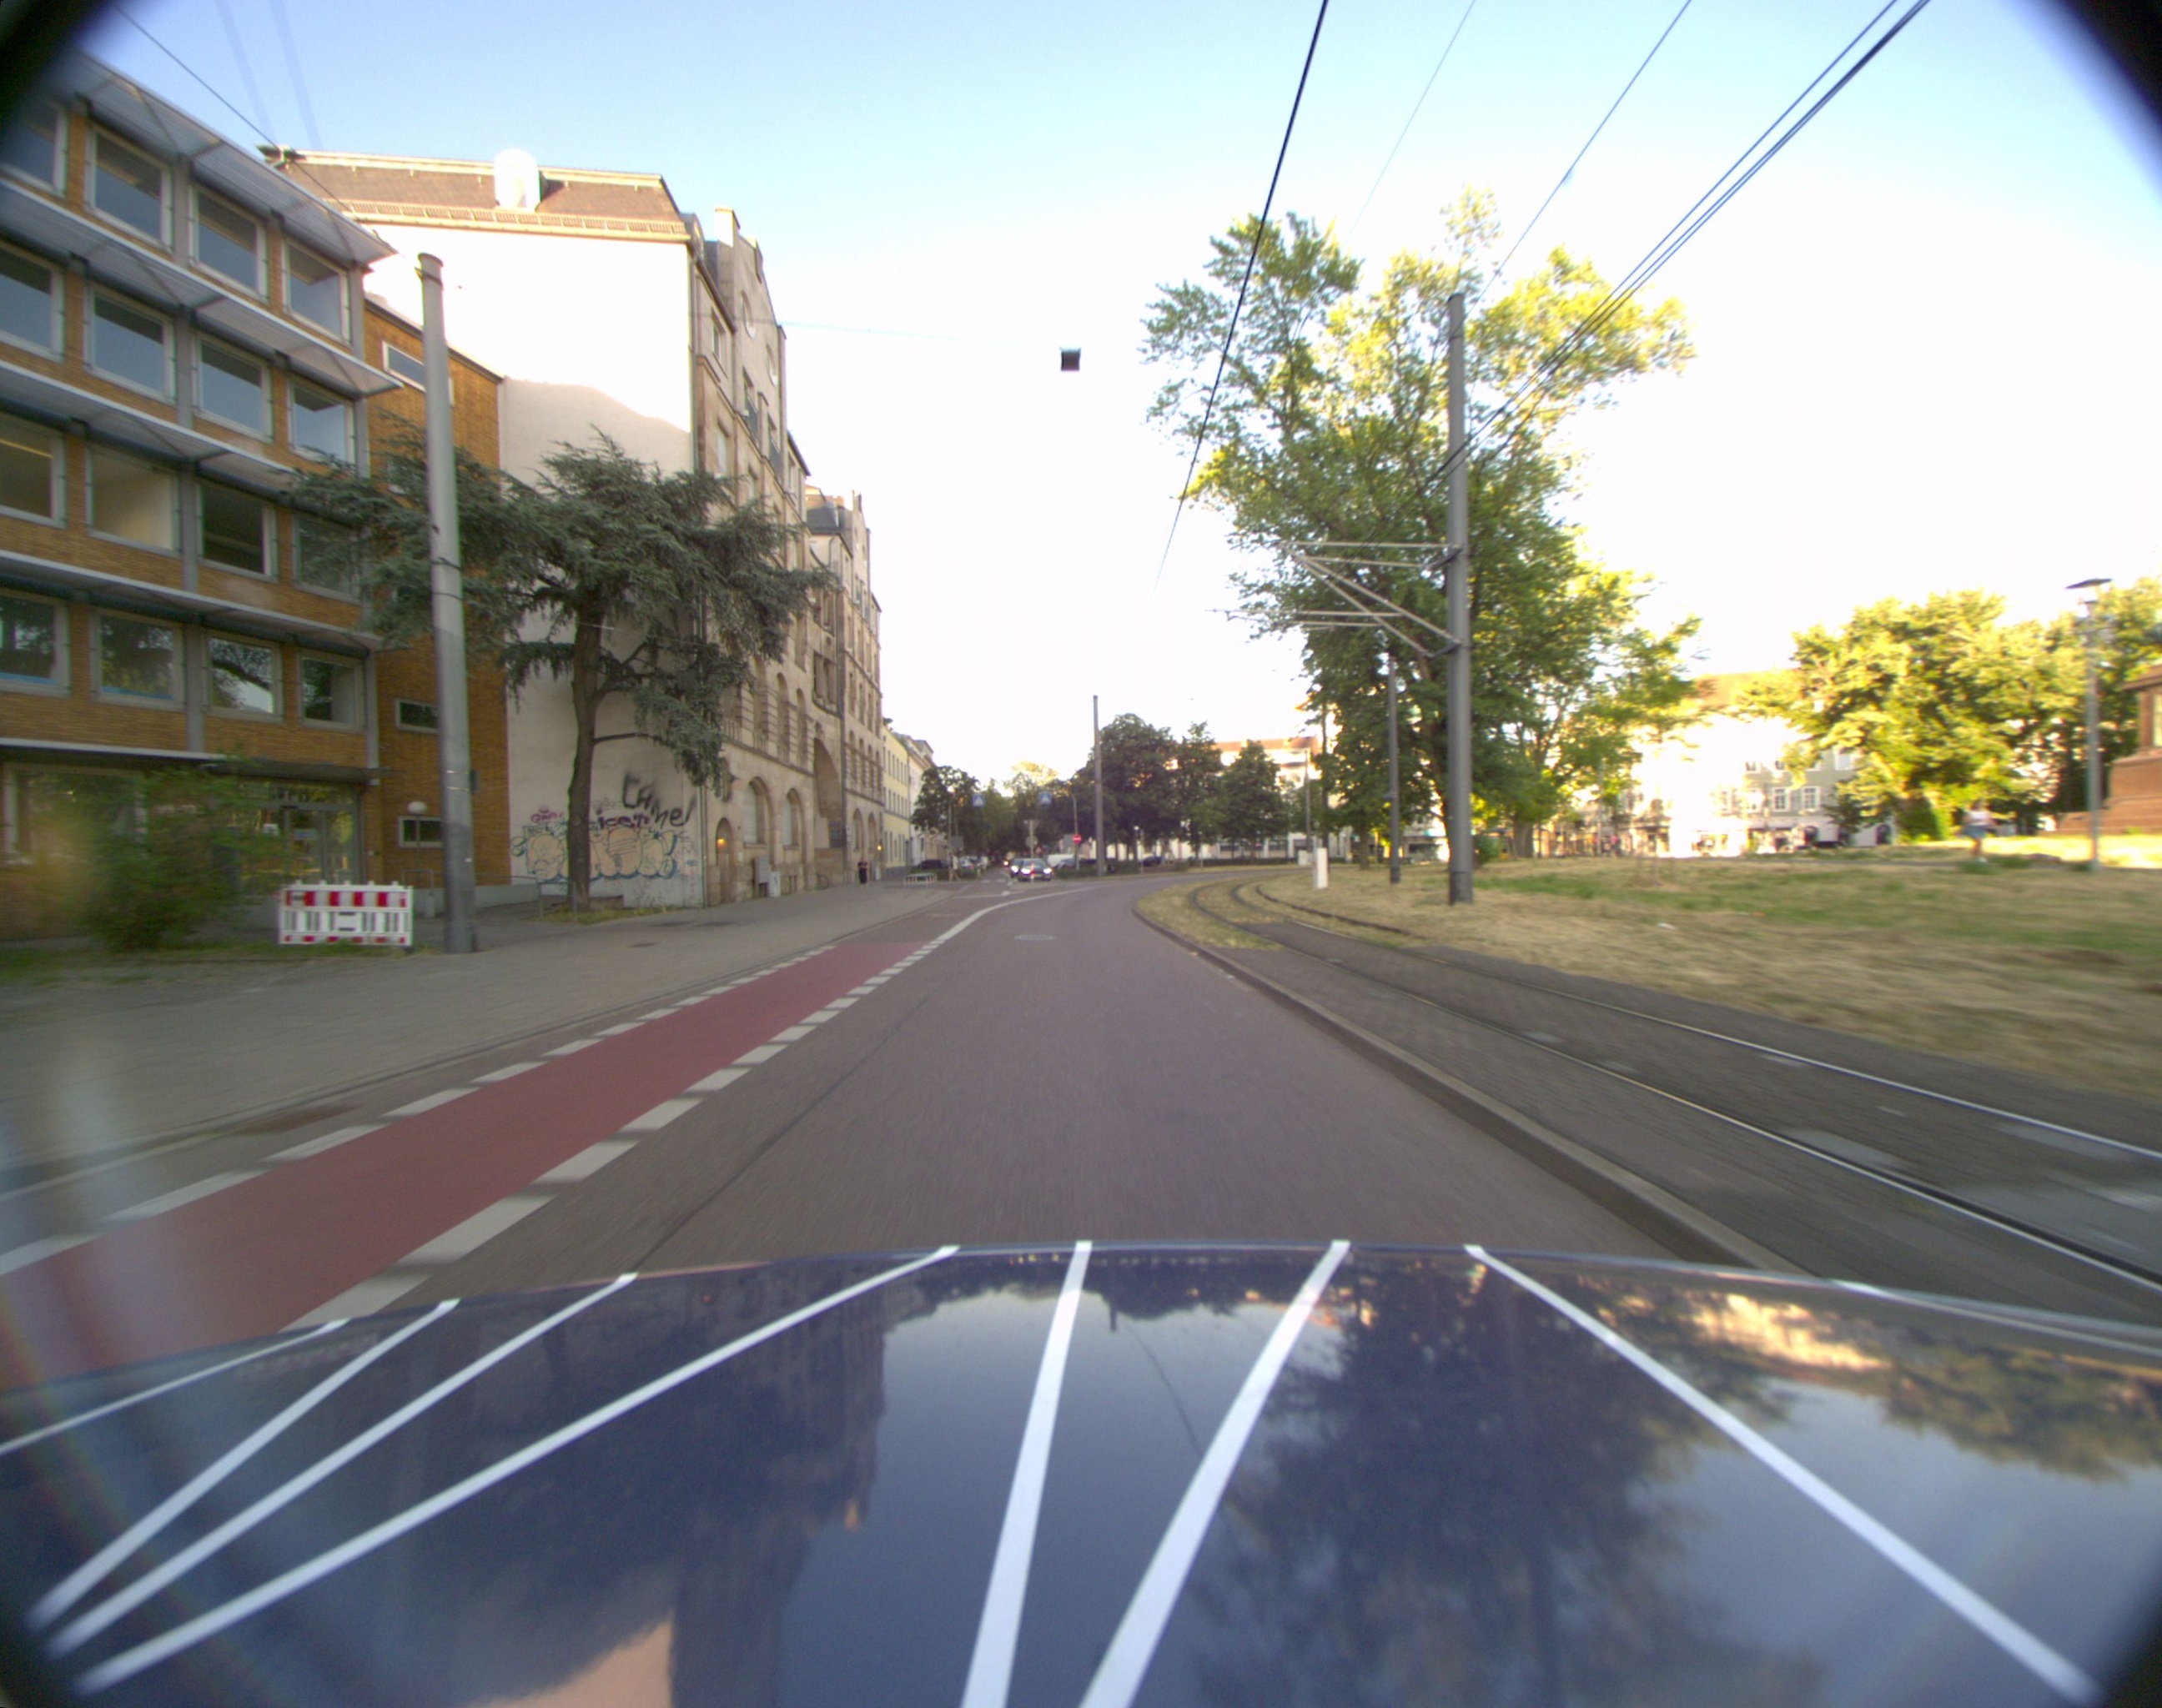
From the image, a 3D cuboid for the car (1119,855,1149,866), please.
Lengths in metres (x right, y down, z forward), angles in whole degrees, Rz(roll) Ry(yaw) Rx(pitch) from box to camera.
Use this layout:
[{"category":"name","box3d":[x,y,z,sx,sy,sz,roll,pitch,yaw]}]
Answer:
[{"category":"car","box3d":[7.055,0.908,101.144,3.669,1.441,1.704,-1,-1,17]}]

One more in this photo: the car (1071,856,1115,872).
[{"category":"car","box3d":[1.225,0.991,74.722,4.062,1.542,2.002,-1,-1,10]}]

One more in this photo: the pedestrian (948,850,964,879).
[{"category":"pedestrian","box3d":[-7.799,0.638,47.460,0.591,1.781,0.823,-1,0,27]}]

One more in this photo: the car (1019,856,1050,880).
[{"category":"car","box3d":[-3.001,0.876,48.458,1.820,1.473,4.134,-1,-1,-5]}]

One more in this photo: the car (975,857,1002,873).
[{"category":"car","box3d":[-14.201,1.703,116.641,4.067,2.280,1.999,-1,-1,-6]}]

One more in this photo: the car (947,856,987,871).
[{"category":"car","box3d":[-11.998,1.013,80.326,4.067,1.542,1.999,-1,-1,-6]}]

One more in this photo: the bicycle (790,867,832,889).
[{"category":"bicycle","box3d":[-13.026,1.153,36.691,1.855,1.066,0.429,-1,0,-6]}]

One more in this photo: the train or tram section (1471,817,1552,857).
[{"category":"train or tram section","box3d":[42.072,-1.680,73.918,13.393,3.563,2.942,-2,1,-43]}]

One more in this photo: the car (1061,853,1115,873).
[{"category":"car","box3d":[0.590,0.757,61.284,4.062,1.547,1.867,-1,-1,10]}]

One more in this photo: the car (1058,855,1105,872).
[{"category":"car","box3d":[0.061,0.903,71.564,4.062,1.608,2.002,-1,-1,10]}]

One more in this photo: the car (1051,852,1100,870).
[{"category":"car","box3d":[-0.597,0.766,84.533,5.071,1.891,2.124,-1,-1,18]}]

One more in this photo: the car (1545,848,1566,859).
[{"category":"car","box3d":[71.994,-0.112,115.273,1.721,1.542,3.973,-1,-1,17]}]

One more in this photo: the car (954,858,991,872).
[{"category":"car","box3d":[-12.273,1.256,86.009,4.067,1.542,1.999,-1,-1,-6]}]

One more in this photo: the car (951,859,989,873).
[{"category":"car","box3d":[-13.158,1.447,90.279,4.062,1.542,2.002,-1,-1,10]}]

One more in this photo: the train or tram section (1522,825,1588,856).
[{"category":"train or tram section","box3d":[51.774,-1.568,82.719,12.882,3.123,2.924,-2,1,-43]}]

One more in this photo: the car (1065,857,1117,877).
[{"category":"car","box3d":[0.846,1.077,63.450,4.062,1.547,1.867,-1,-1,10]}]

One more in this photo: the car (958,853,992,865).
[{"category":"car","box3d":[-13.761,0.668,98.913,4.398,1.603,1.728,-1,-1,-6]}]

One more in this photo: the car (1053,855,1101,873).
[{"category":"car","box3d":[-0.359,0.905,69.293,4.062,1.542,2.002,-1,-1,10]}]

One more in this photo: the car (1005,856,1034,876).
[{"category":"car","box3d":[-4.743,0.945,58.913,1.819,1.473,4.136,-1,-1,1]}]

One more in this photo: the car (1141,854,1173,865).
[{"category":"car","box3d":[9.492,0.737,94.877,3.776,1.328,1.730,-1,-1,15]}]

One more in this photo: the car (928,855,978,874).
[{"category":"car","box3d":[-11.187,0.914,66.489,4.066,1.560,1.837,-1,-1,-3]}]

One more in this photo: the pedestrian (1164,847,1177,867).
[{"category":"pedestrian","box3d":[7.908,0.274,66.934,0.770,1.705,0.784,0,0,-29]}]

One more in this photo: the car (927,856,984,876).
[{"category":"car","box3d":[-10.104,0.990,61.504,4.397,1.548,1.837,-1,-1,-4]}]

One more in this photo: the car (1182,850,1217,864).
[{"category":"car","box3d":[14.574,0.385,93.571,4.006,1.714,1.704,-1,-1,15]}]

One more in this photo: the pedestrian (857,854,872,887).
[{"category":"pedestrian","box3d":[-11.246,0.844,39.549,0.577,1.699,0.721,-1,0,-1]}]

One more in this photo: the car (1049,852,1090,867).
[{"category":"car","box3d":[-1.221,0.571,82.274,4.060,1.542,2.003,-1,-1,17]}]

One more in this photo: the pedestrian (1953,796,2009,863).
[{"category":"pedestrian","box3d":[23.200,-0.614,19.599,0.476,1.680,0.836,-1,0,2]}]
